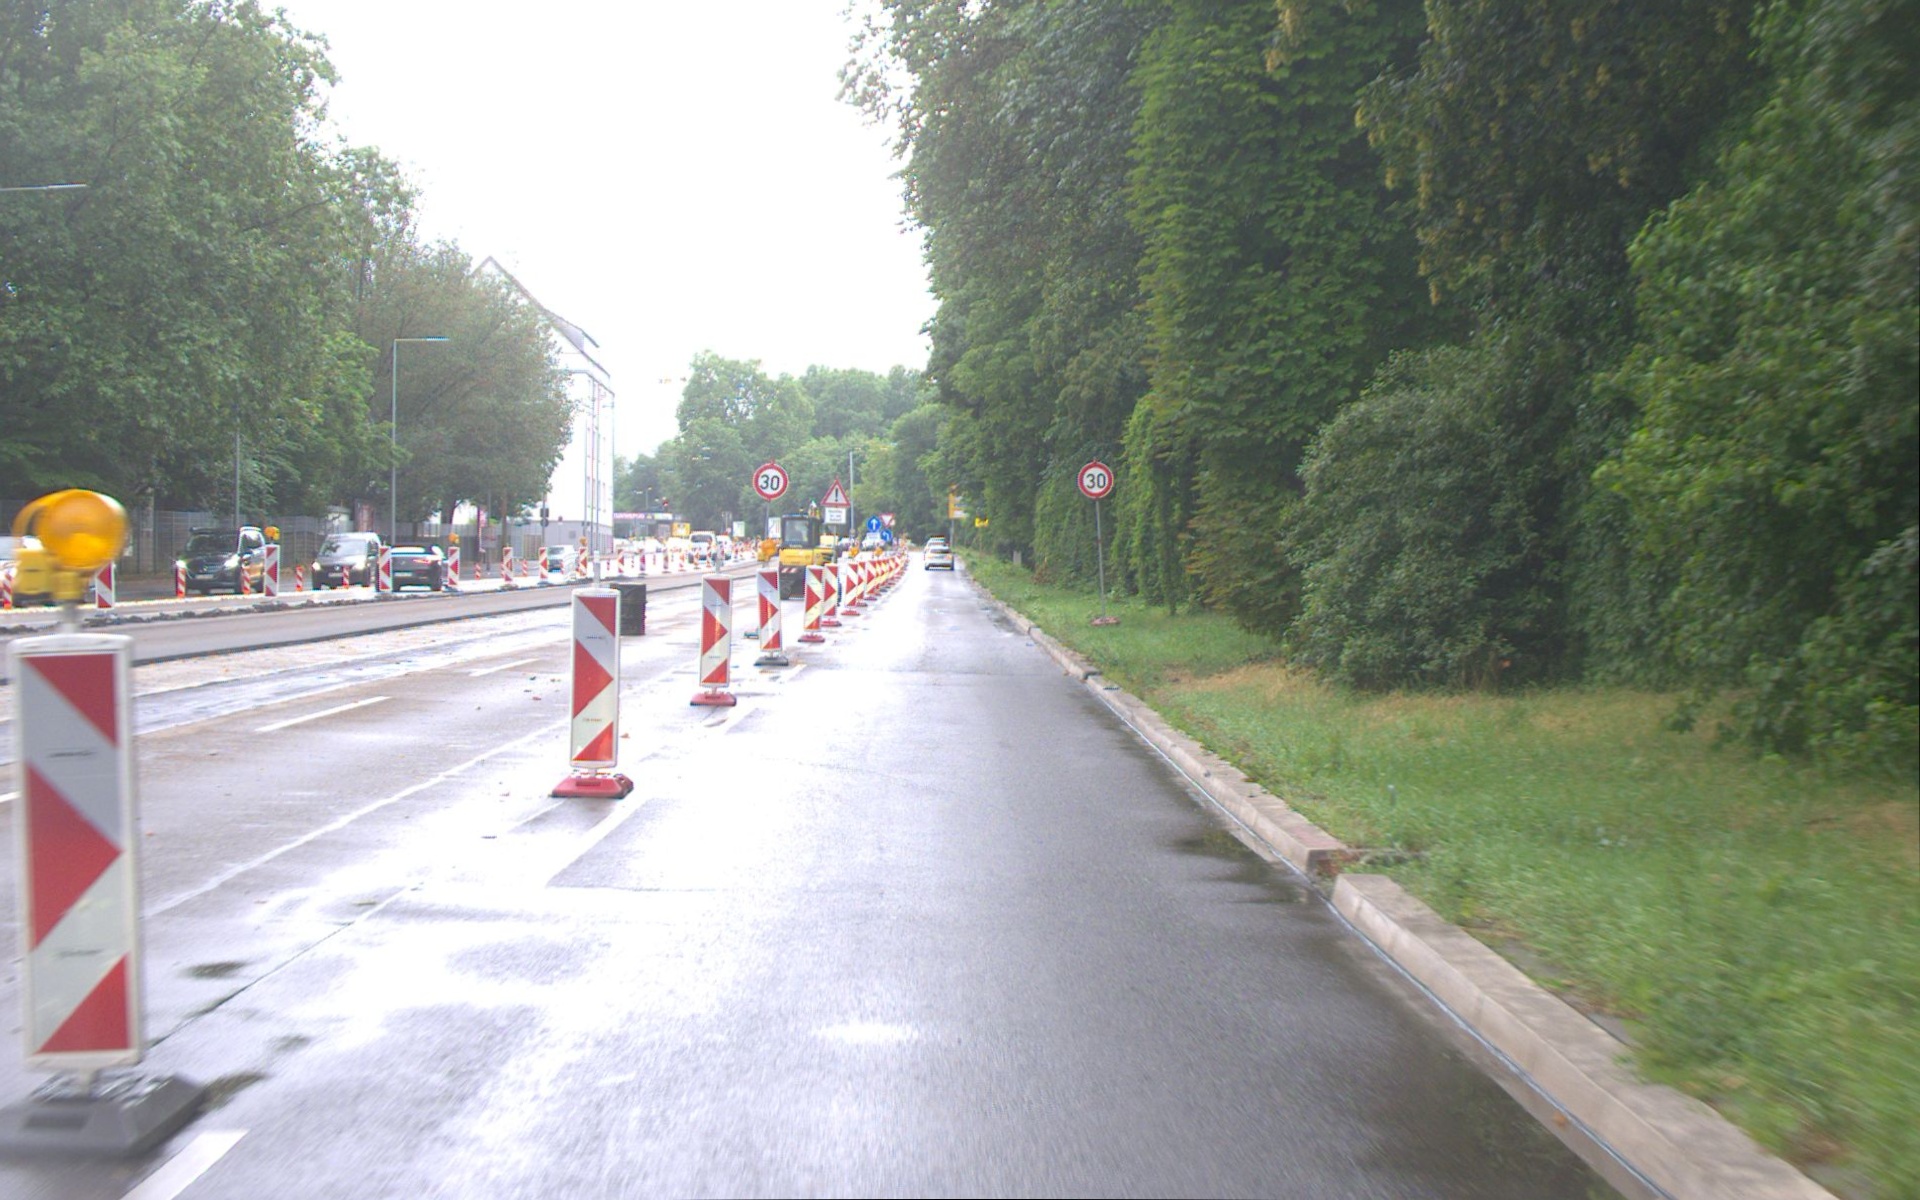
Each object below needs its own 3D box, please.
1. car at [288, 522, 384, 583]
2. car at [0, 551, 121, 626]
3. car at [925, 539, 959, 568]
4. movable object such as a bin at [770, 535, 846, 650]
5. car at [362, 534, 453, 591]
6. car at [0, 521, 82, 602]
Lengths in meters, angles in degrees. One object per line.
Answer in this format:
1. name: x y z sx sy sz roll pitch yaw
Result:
1. car: -19.752 -1.495 108.985 1.993 1.774 4.954 2 0 2
2. car: -21.683 -0.263 82.578 1.937 1.700 4.936 2 0 -2
3. car: -1.109 -2.870 211.607 1.993 1.667 4.000 2 0 0
4. movable object such as a bin: -4.604 -0.215 104.790 1.993 3.356 5.982 2 0 0
5. car: -15.990 -1.068 99.693 1.993 1.514 4.000 2 0 -1
6. car: -18.870 -0.752 67.643 1.894 1.497 4.516 2 0 1
